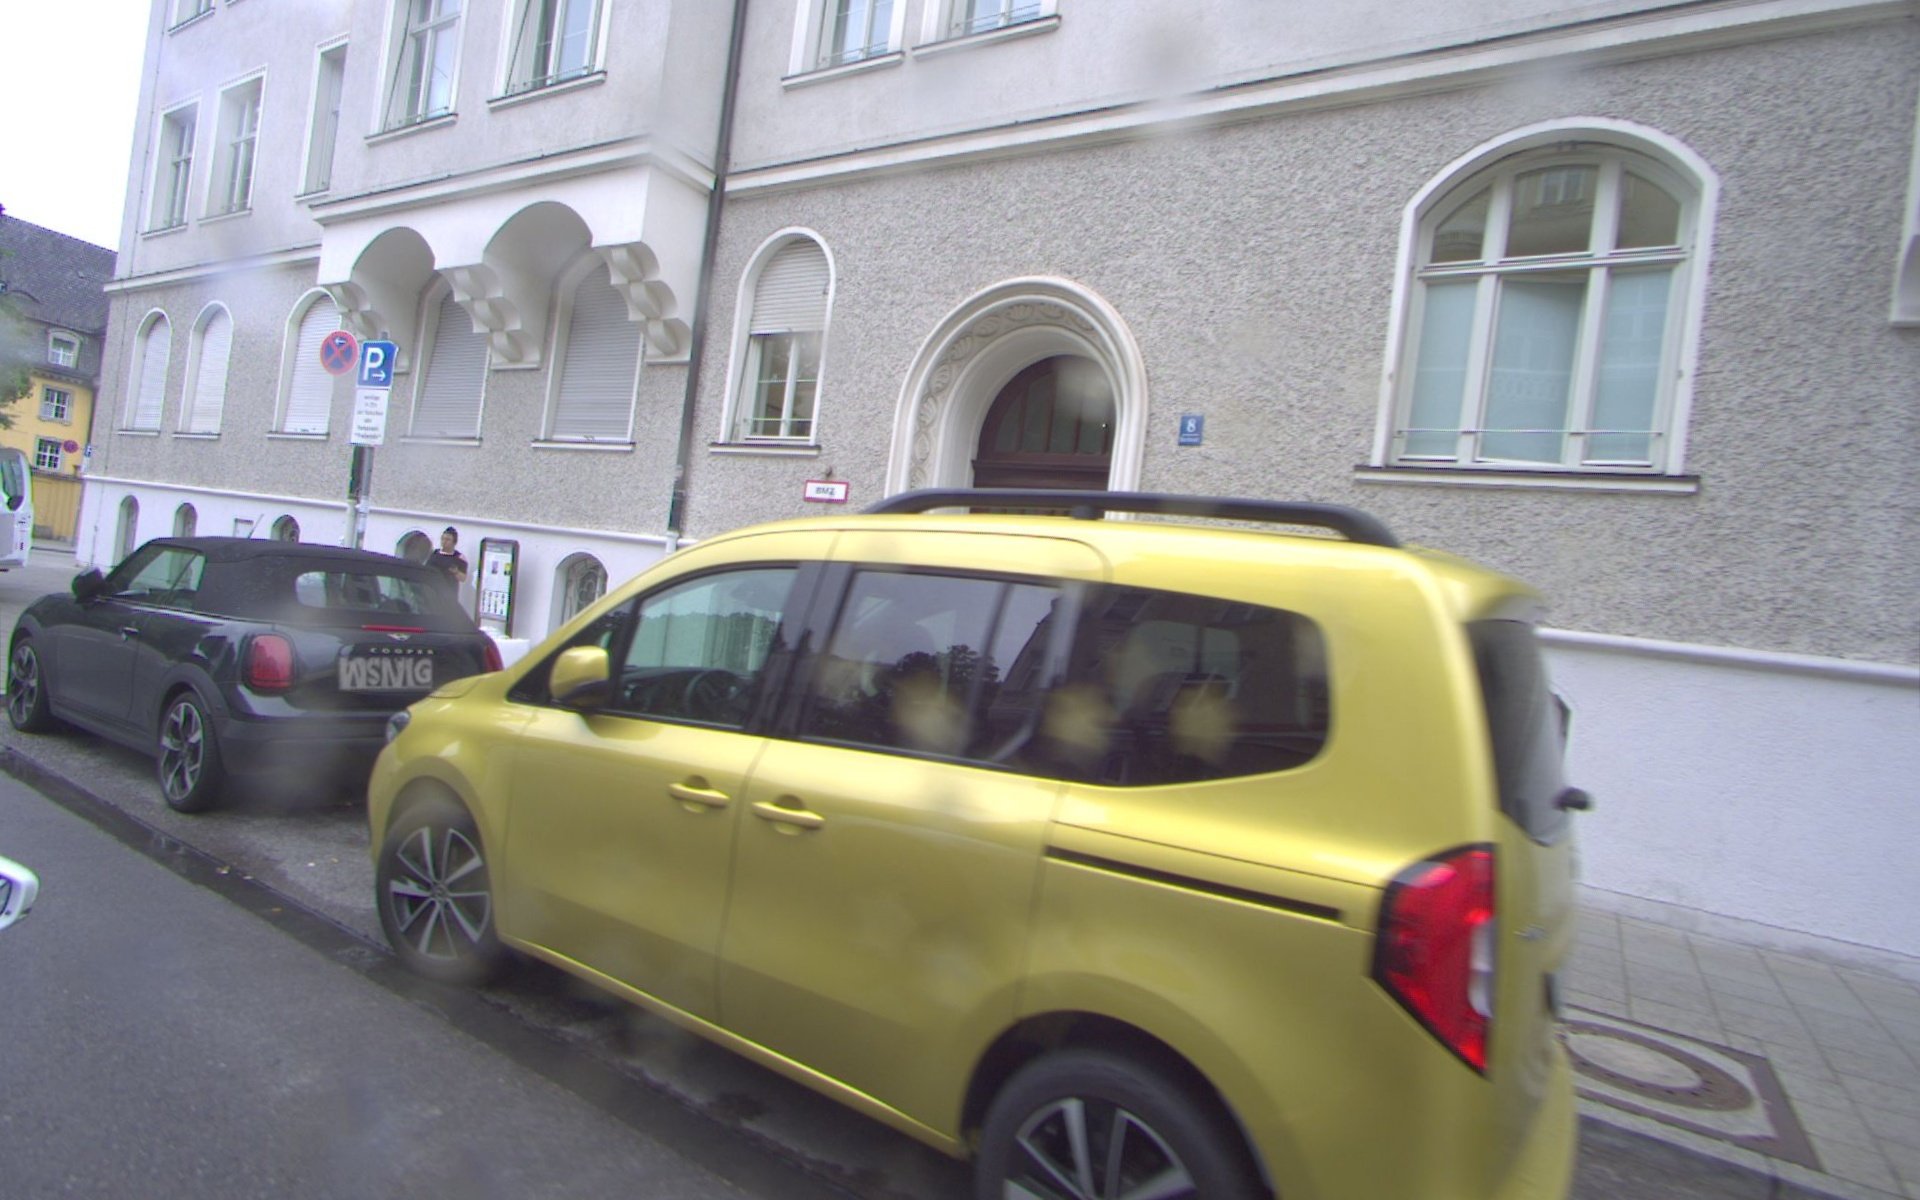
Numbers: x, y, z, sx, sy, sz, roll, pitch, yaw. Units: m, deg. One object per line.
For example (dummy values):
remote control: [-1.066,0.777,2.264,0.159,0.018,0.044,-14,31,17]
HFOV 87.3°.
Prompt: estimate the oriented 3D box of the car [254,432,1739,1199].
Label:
car: [-0.376,0.553,3.642,4.743,1.875,1.852,7,-1,34]

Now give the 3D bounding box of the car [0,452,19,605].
car: [-14.996,-1.244,13.597,4.843,1.986,1.918,7,0,30]

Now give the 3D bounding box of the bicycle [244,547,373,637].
bicycle: [-9.913,-0.135,15.277,2.245,1.108,0.695,7,2,32]

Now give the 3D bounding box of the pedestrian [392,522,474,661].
pedestrian: [-7.017,-0.112,13.425,0.724,1.760,0.691,4,1,-14]

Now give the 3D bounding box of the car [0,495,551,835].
car: [-4.672,0.277,6.562,3.832,1.474,1.666,7,-1,32]

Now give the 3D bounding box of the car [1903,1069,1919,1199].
car: [3.916,1.264,1.194,3.721,1.502,1.634,7,-1,32]
